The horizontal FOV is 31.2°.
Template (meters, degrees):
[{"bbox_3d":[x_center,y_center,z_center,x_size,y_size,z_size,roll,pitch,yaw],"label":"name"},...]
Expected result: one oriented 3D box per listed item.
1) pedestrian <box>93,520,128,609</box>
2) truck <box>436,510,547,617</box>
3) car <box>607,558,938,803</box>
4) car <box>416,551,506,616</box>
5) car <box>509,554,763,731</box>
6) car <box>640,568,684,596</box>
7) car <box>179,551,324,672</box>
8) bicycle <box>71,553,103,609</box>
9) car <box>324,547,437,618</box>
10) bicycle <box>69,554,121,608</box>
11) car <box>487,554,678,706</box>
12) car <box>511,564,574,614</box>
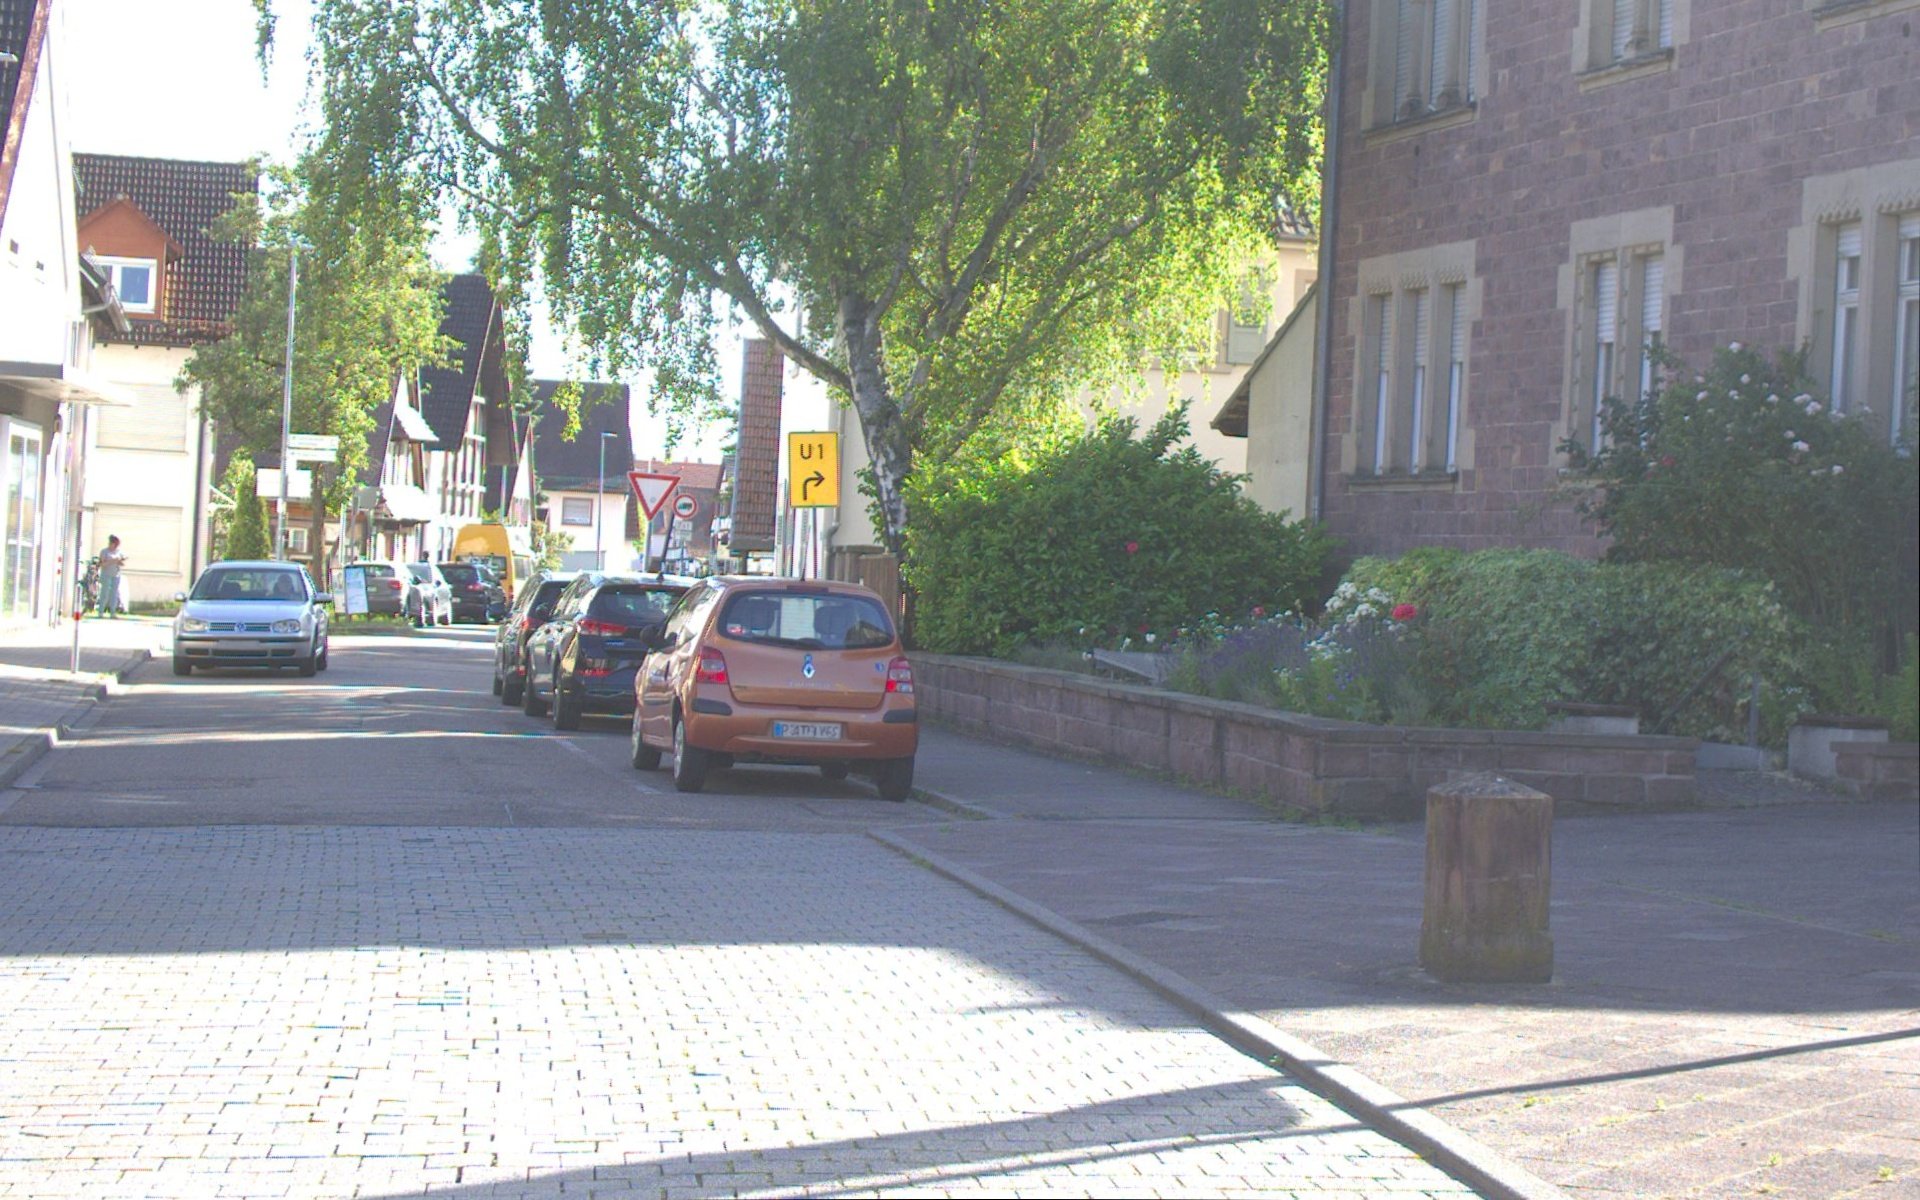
[{"bbox_3d":[-16.594,-0.688,67.180,0.483,1.687,0.557,3,-2,-5],"label":"pedestrian"},{"bbox_3d":[-13.370,-0.992,98.500,2.268,2.859,5.782,3,0,0],"label":"truck"},{"bbox_3d":[-1.417,0.512,24.459,1.647,1.474,3.935,3,1,-13],"label":"car"},{"bbox_3d":[-13.463,-0.419,92.929,1.806,1.616,3.881,3,0,0],"label":"car"},{"bbox_3d":[-3.156,0.360,32.739,1.807,1.431,4.287,3,1,-13],"label":"car"},{"bbox_3d":[-18.503,-1.147,213.448,1.972,1.577,3.996,3,0,-14],"label":"car"},{"bbox_3d":[-8.898,0.118,43.373,1.670,1.398,3.893,2,1,-10],"label":"car"},{"bbox_3d":[-17.001,-0.361,66.956,0.423,1.049,1.381,3,-1,-9],"label":"bicycle"},{"bbox_3d":[-13.386,-0.383,79.601,1.867,1.500,4.107,3,0,0],"label":"car"},{"bbox_3d":[-17.683,-0.376,70.309,0.578,1.049,2.036,3,-1,-2],"label":"bicycle"},{"bbox_3d":[-4.158,0.283,37.366,1.807,1.431,4.287,3,1,-9],"label":"car"},{"bbox_3d":[-13.037,-0.352,107.540,1.645,1.428,3.615,3,0,-3],"label":"car"}]
